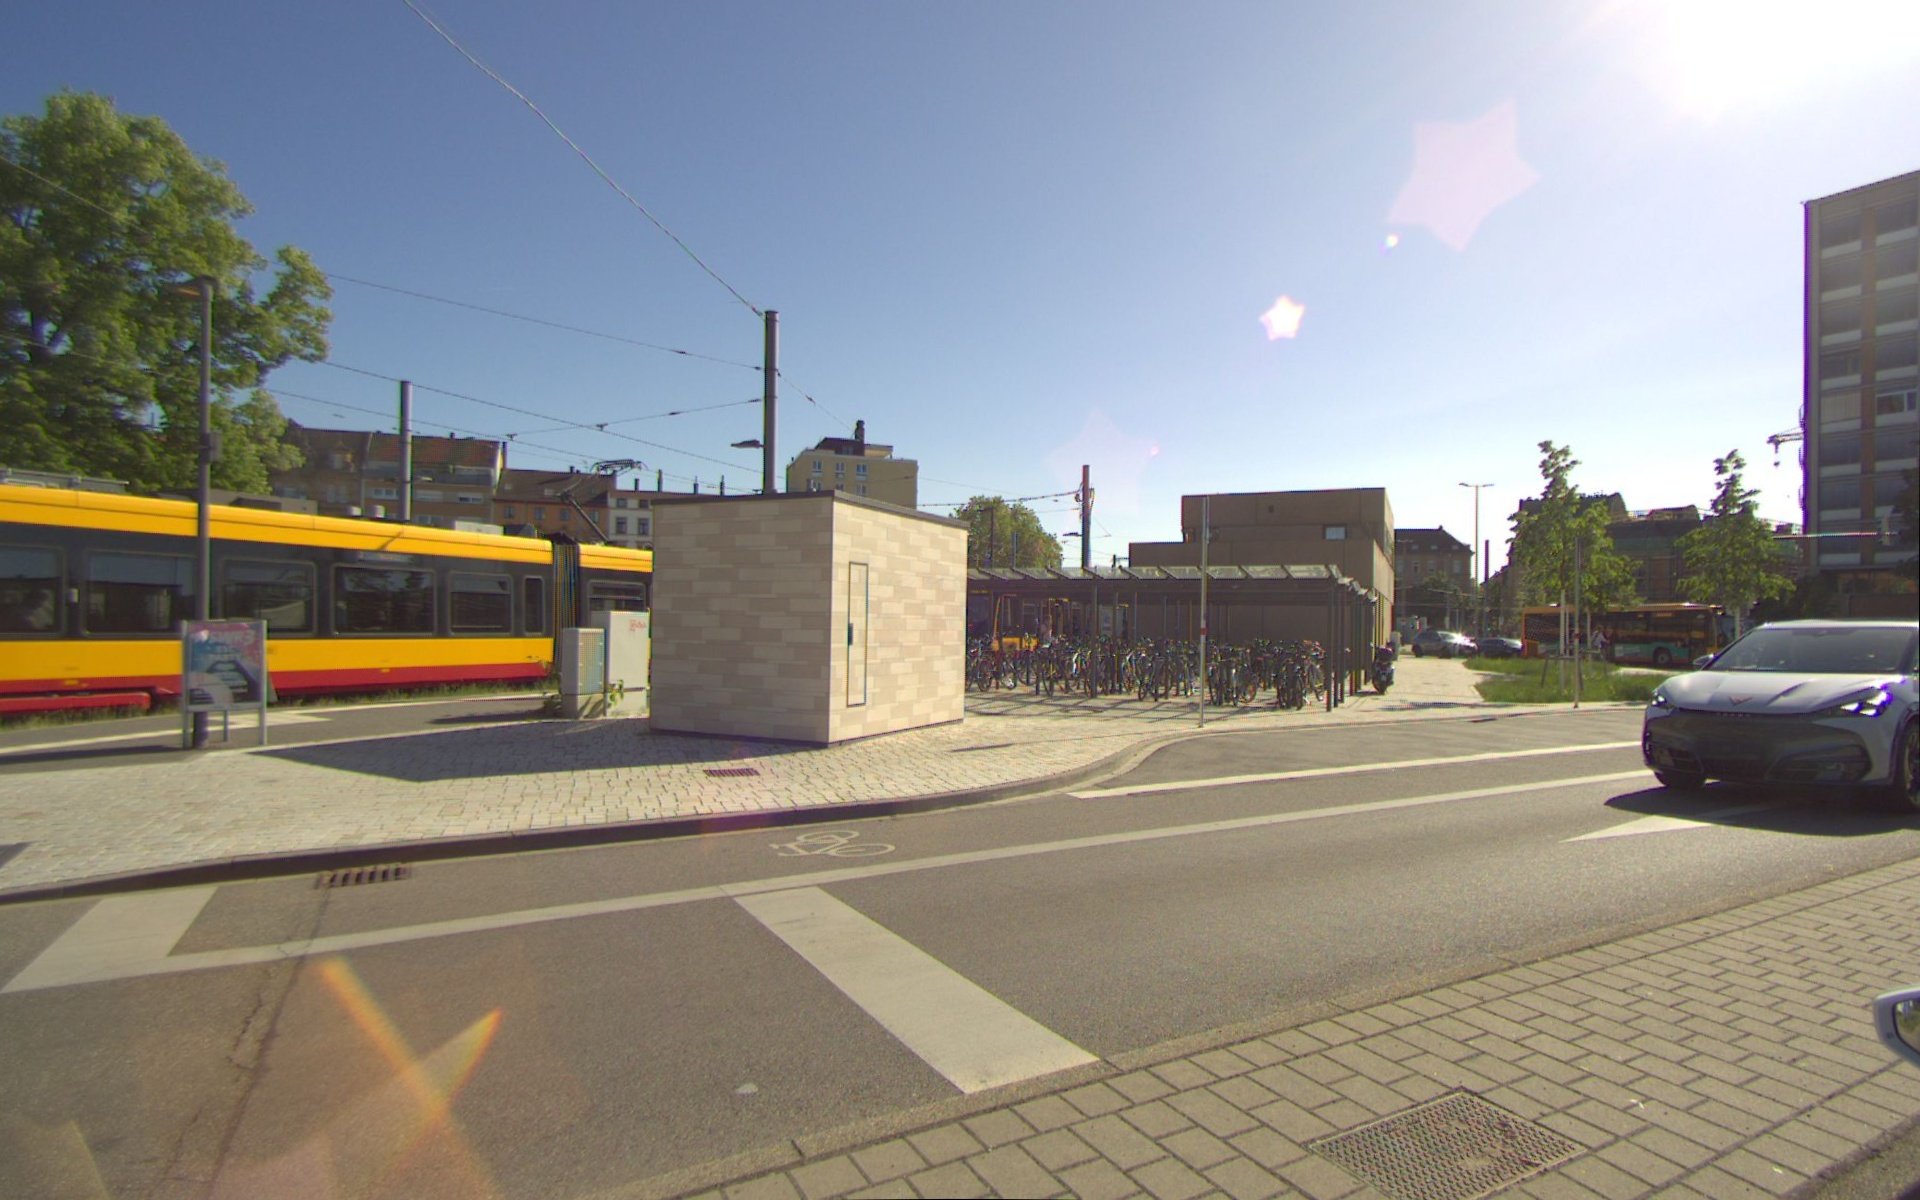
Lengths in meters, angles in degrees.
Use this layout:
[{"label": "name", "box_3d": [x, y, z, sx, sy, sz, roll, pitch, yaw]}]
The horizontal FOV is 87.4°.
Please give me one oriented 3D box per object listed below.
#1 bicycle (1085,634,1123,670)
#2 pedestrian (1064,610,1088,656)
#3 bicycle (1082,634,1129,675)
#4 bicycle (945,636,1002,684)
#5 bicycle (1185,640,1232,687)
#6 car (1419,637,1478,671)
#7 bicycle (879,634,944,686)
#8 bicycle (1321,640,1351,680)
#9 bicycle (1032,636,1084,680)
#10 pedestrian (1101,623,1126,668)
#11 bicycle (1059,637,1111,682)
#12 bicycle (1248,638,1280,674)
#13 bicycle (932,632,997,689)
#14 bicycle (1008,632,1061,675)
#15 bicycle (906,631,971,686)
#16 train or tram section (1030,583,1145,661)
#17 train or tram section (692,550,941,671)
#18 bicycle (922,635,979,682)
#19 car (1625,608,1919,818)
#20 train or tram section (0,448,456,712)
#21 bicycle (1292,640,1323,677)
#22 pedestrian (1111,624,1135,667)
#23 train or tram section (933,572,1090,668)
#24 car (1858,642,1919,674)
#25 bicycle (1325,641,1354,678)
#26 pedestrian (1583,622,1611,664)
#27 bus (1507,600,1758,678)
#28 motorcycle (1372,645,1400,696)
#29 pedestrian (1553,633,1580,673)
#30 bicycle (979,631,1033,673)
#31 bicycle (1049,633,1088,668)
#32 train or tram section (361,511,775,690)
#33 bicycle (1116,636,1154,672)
[{"label": "bicycle", "box_3d": [4.636, 1.681, 32.269, 0.572, 1.102, 1.869, 2, -2, 28]}, {"label": "pedestrian", "box_3d": [5.006, 1.421, 43.264, 0.746, 1.908, 0.850, 2, -1, 23]}, {"label": "bicycle", "box_3d": [4.192, 1.553, 28.754, 0.572, 1.102, 2.055, 2, -2, 30]}, {"label": "bicycle", "box_3d": [0.339, 1.415, 23.814, 0.571, 1.072, 1.814, 2, -2, 28]}, {"label": "bicycle", "box_3d": [6.178, 1.568, 24.902, 0.572, 1.102, 2.055, 2, -2, 30]}, {"label": "car", "box_3d": [31.907, 3.519, 65.698, 1.971, 2.040, 4.002, 2, -2, 3]}, {"label": "bicycle", "box_3d": [-1.070, 1.329, 22.441, 0.571, 1.072, 1.814, 2, -2, 28]}, {"label": "bicycle", "box_3d": [10.954, 1.733, 29.233, 0.571, 1.102, 1.869, 2, -2, 28]}, {"label": "bicycle", "box_3d": [2.649, 1.549, 26.974, 0.572, 1.102, 2.055, 2, -2, 30]}, {"label": "pedestrian", "box_3d": [6.755, 1.990, 44.260, 0.834, 1.908, 0.760, 2, -1, 24]}, {"label": "bicycle", "box_3d": [3.322, 1.569, 26.594, 0.572, 1.102, 2.055, 2, -2, 30]}, {"label": "bicycle", "box_3d": [9.693, 1.783, 32.003, 0.572, 1.102, 1.869, 2, -2, 28]}, {"label": "bicycle", "box_3d": [0.119, 1.288, 21.661, 0.571, 1.147, 1.814, 2, -2, 28]}, {"label": "bicycle", "box_3d": [2.046, 1.450, 27.367, 0.572, 1.102, 2.055, 2, -2, 30]}, {"label": "bicycle", "box_3d": [-0.459, 1.273, 22.062, 0.571, 1.135, 1.814, 2, -2, 28]}, {"label": "train or tram section", "box_3d": [6.805, 1.162, 51.709, 2.826, 3.554, 10.536, 1, -1, 25]}, {"label": "train or tram section", "box_3d": [-4.443, 0.433, 35.010, 2.773, 3.554, 11.201, 1, -1, 26]}, {"label": "bicycle", "box_3d": [-0.204, 1.399, 24.113, 0.545, 1.072, 1.814, 2, -2, 28]}, {"label": "car", "box_3d": [8.349, 0.930, 9.466, 4.200, 1.589, 1.810, 1, -3, -31]}, {"label": "train or tram section", "box_3d": [-13.445, -0.216, 15.759, 2.773, 3.554, 10.473, 0, -2, 24]}, {"label": "bicycle", "box_3d": [10.906, 1.823, 31.483, 0.572, 1.102, 1.869, 2, -2, 28]}, {"label": "pedestrian", "box_3d": [7.406, 2.059, 45.701, 0.834, 1.908, 0.760, 2, -1, 24]}, {"label": "train or tram section", "box_3d": [2.498, 0.870, 42.307, 2.826, 3.554, 10.536, 1, -1, 25]}, {"label": "car", "box_3d": [51.200, 3.137, 54.070, 1.848, 1.607, 3.897, 3, -2, -14]}, {"label": "bicycle", "box_3d": [11.745, 1.826, 31.045, 0.572, 1.102, 1.869, 2, -2, 28]}, {"label": "pedestrian", "box_3d": [27.757, 1.872, 43.787, 0.775, 1.764, 0.625, 3, -1, -13]}, {"label": "bus", "box_3d": [33.898, 1.905, 51.739, 2.831, 3.440, 12.423, 3, -2, -10]}, {"label": "motorcycle", "box_3d": [10.562, 1.733, 24.929, 0.542, 1.192, 1.921, 2, -2, 22]}, {"label": "pedestrian", "box_3d": [27.743, 2.407, 45.938, 0.775, 1.764, 0.654, 3, -1, -13]}, {"label": "bicycle", "box_3d": [1.281, 1.427, 27.760, 0.572, 1.102, 2.055, 2, -2, 30]}, {"label": "bicycle", "box_3d": [3.585, 1.652, 32.946, 0.572, 1.102, 1.869, 2, -2, 28]}, {"label": "train or tram section", "box_3d": [-9.019, 0.131, 25.309, 2.772, 3.554, 10.602, 1, -1, 25]}, {"label": "bicycle", "box_3d": [5.566, 1.711, 31.868, 0.572, 1.102, 1.869, 2, -2, 28]}]
